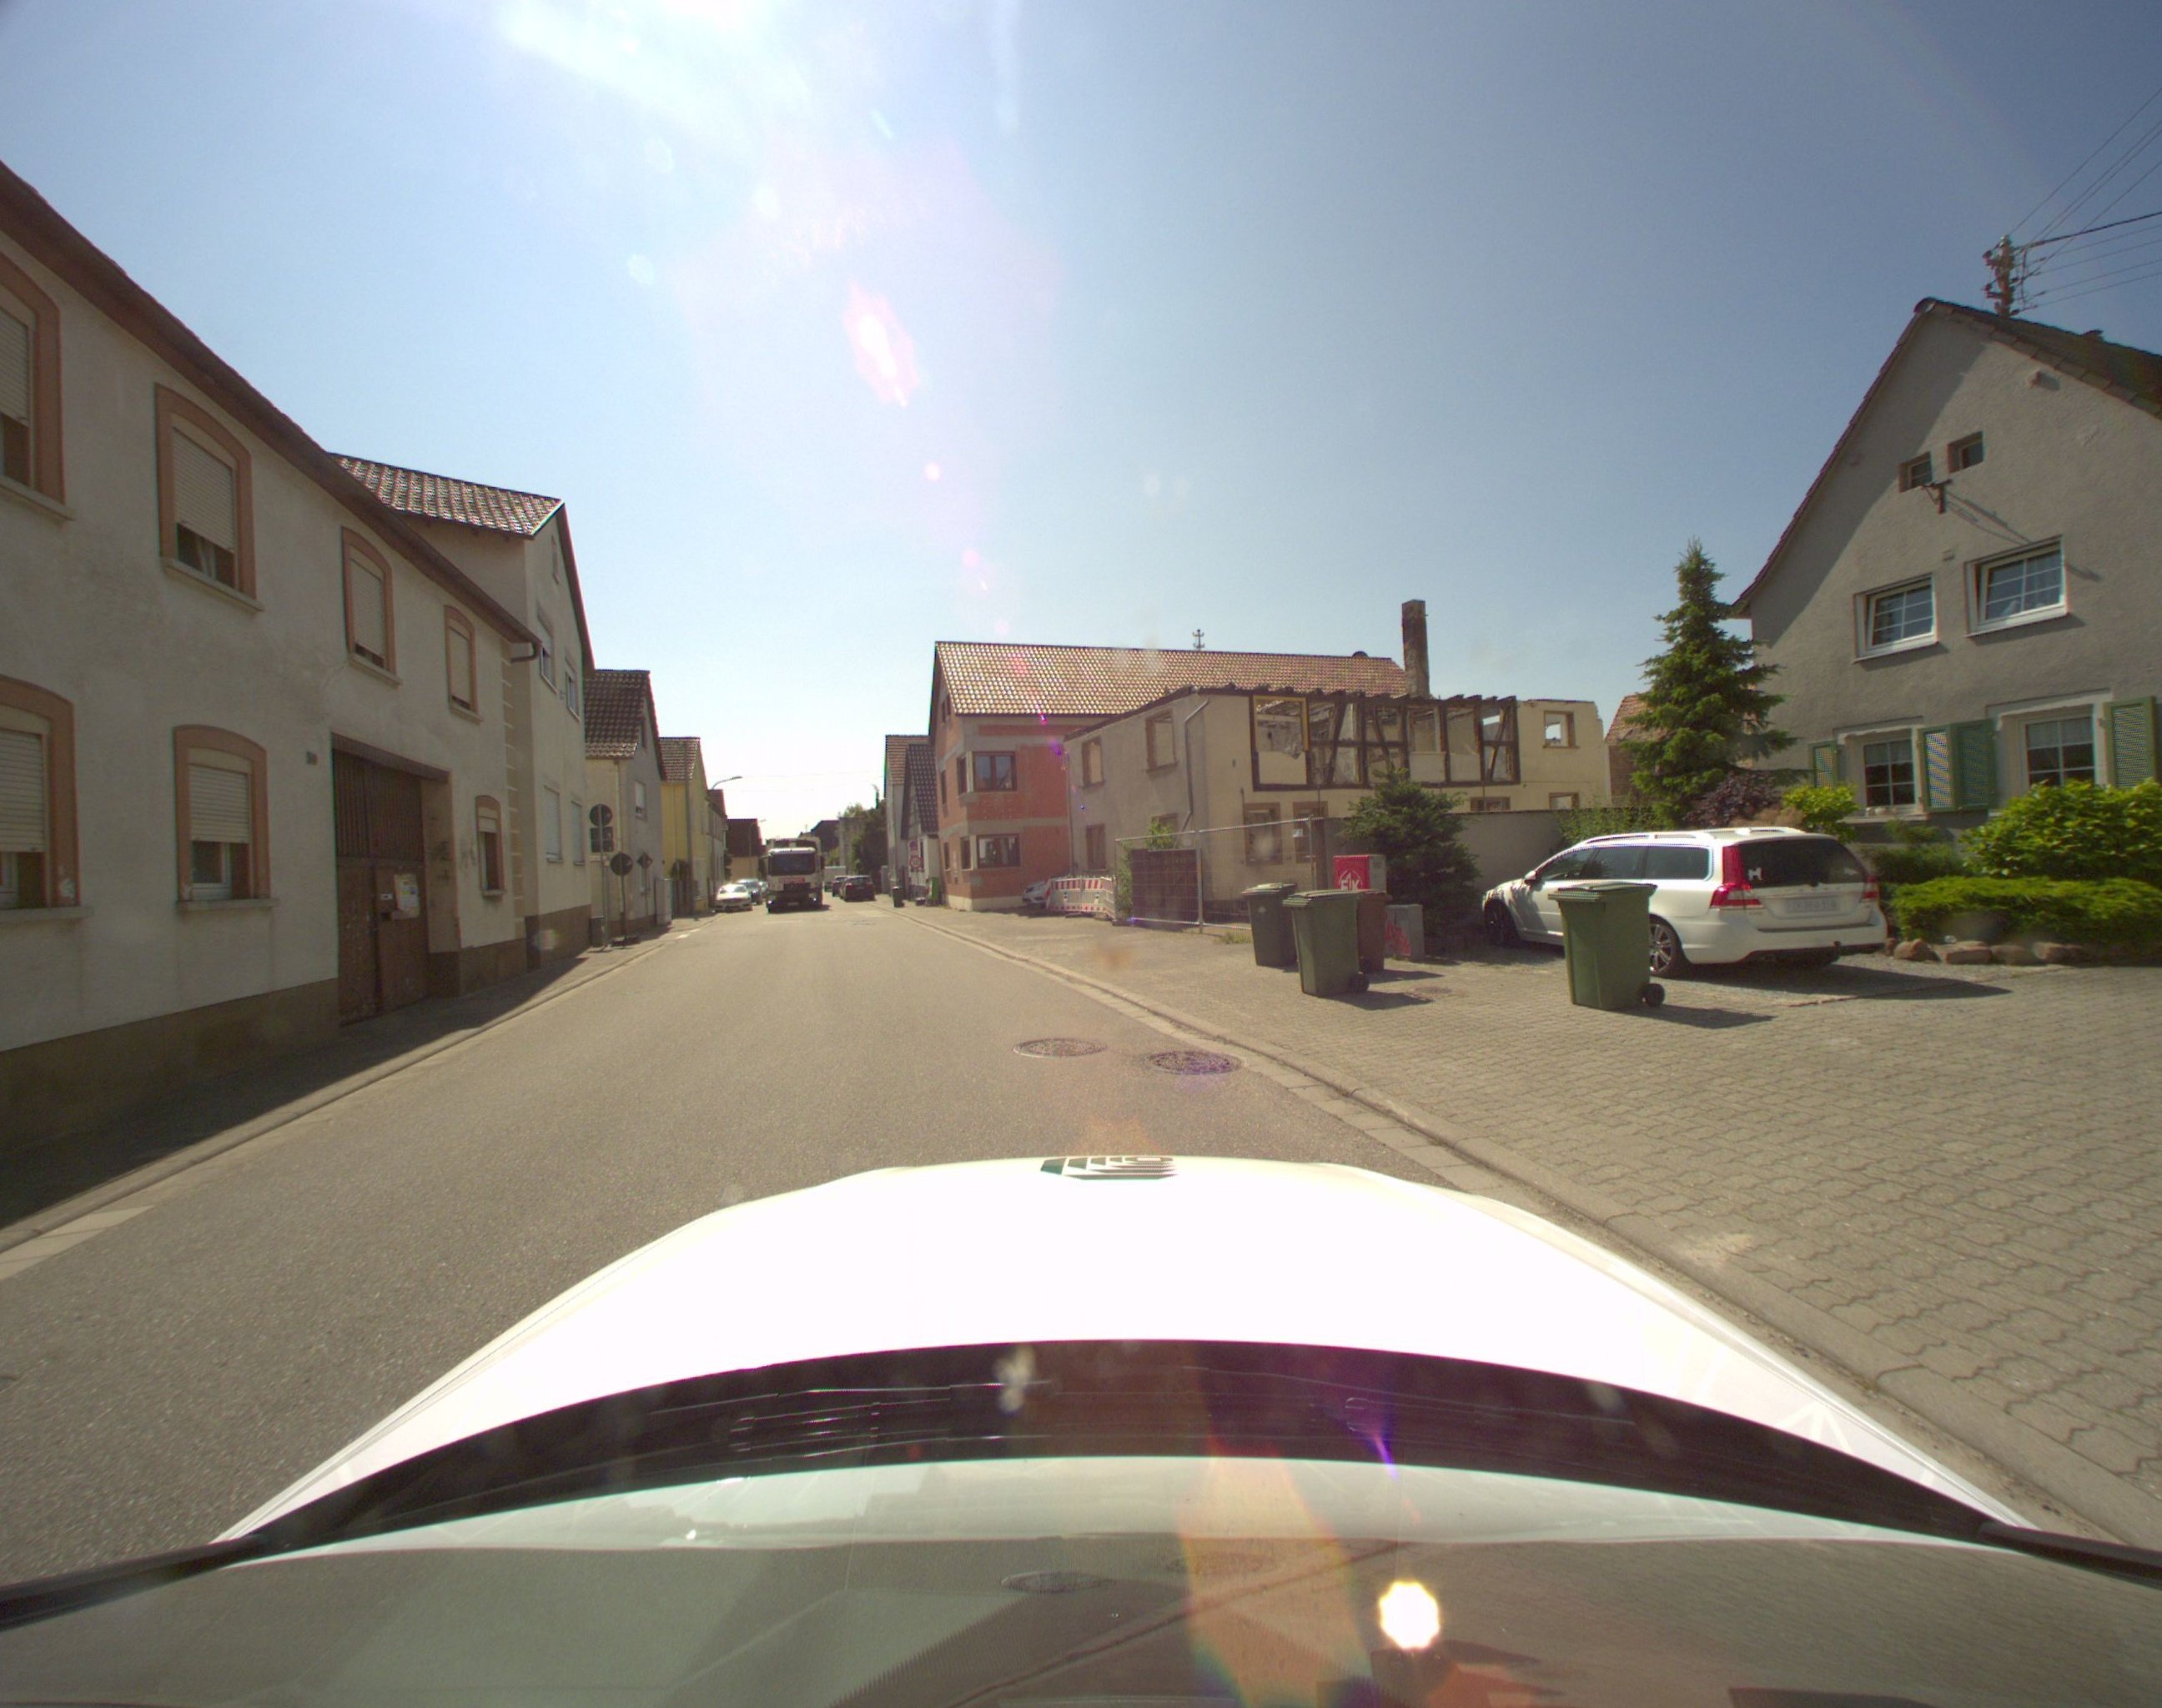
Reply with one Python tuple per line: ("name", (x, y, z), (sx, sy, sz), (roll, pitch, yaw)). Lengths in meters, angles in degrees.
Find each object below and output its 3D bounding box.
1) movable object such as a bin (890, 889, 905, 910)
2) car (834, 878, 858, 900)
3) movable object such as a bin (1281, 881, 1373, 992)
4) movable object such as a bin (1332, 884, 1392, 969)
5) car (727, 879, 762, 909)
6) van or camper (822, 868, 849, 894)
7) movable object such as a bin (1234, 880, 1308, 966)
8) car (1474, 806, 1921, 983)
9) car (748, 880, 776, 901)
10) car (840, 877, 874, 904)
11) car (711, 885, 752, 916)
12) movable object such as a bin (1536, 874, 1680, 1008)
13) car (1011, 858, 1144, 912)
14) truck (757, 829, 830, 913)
("movable object such as a bin", (-8.499, 2.102, 37.775), (0.537, 0.913, 0.551), (-3, -1, -3))
("car", (-19.358, 2.843, 67.130), (1.797, 1.631, 4.337), (-3, -1, -16))
("movable object such as a bin", (2.624, 0.857, 8.720), (0.687, 1.092, 0.635), (-2, -1, -11))
("movable object such as a bin", (3.406, 0.862, 9.909), (0.465, 0.970, 0.494), (-2, -1, -12))
("car", (-22.656, 2.656, 54.952), (1.840, 1.837, 4.326), (-3, -1, -18))
("van or camper", (-27.071, 2.944, 89.580), (2.530, 2.697, 4.524), (-2, -1, -20))
("movable object such as a bin", (2.571, 0.916, 11.003), (0.663, 1.072, 0.766), (-3, -1, 38))
("car", (6.716, 0.388, 9.622), (1.807, 1.528, 4.290), (-3, -1, -4))
("car", (-25.843, 2.953, 66.071), (1.850, 1.527, 4.735), (-2, -1, -18))
("car", (-14.225, 2.268, 51.603), (1.803, 1.560, 4.601), (-2, -1, -18))
("car", (-18.825, 2.449, 43.970), (1.842, 1.464, 4.238), (-3, -1, -22))
("movable object such as a bin", (4.656, 0.736, 7.234), (0.721, 1.081, 0.751), (-2, -1, -15))
("car", (-0.124, 1.028, 27.783), (4.108, 1.507, 1.855), (-3, -1, -25))
("truck", (-14.853, 0.918, 42.818), (2.701, 3.750, 10.809), (-3, -1, -16))
